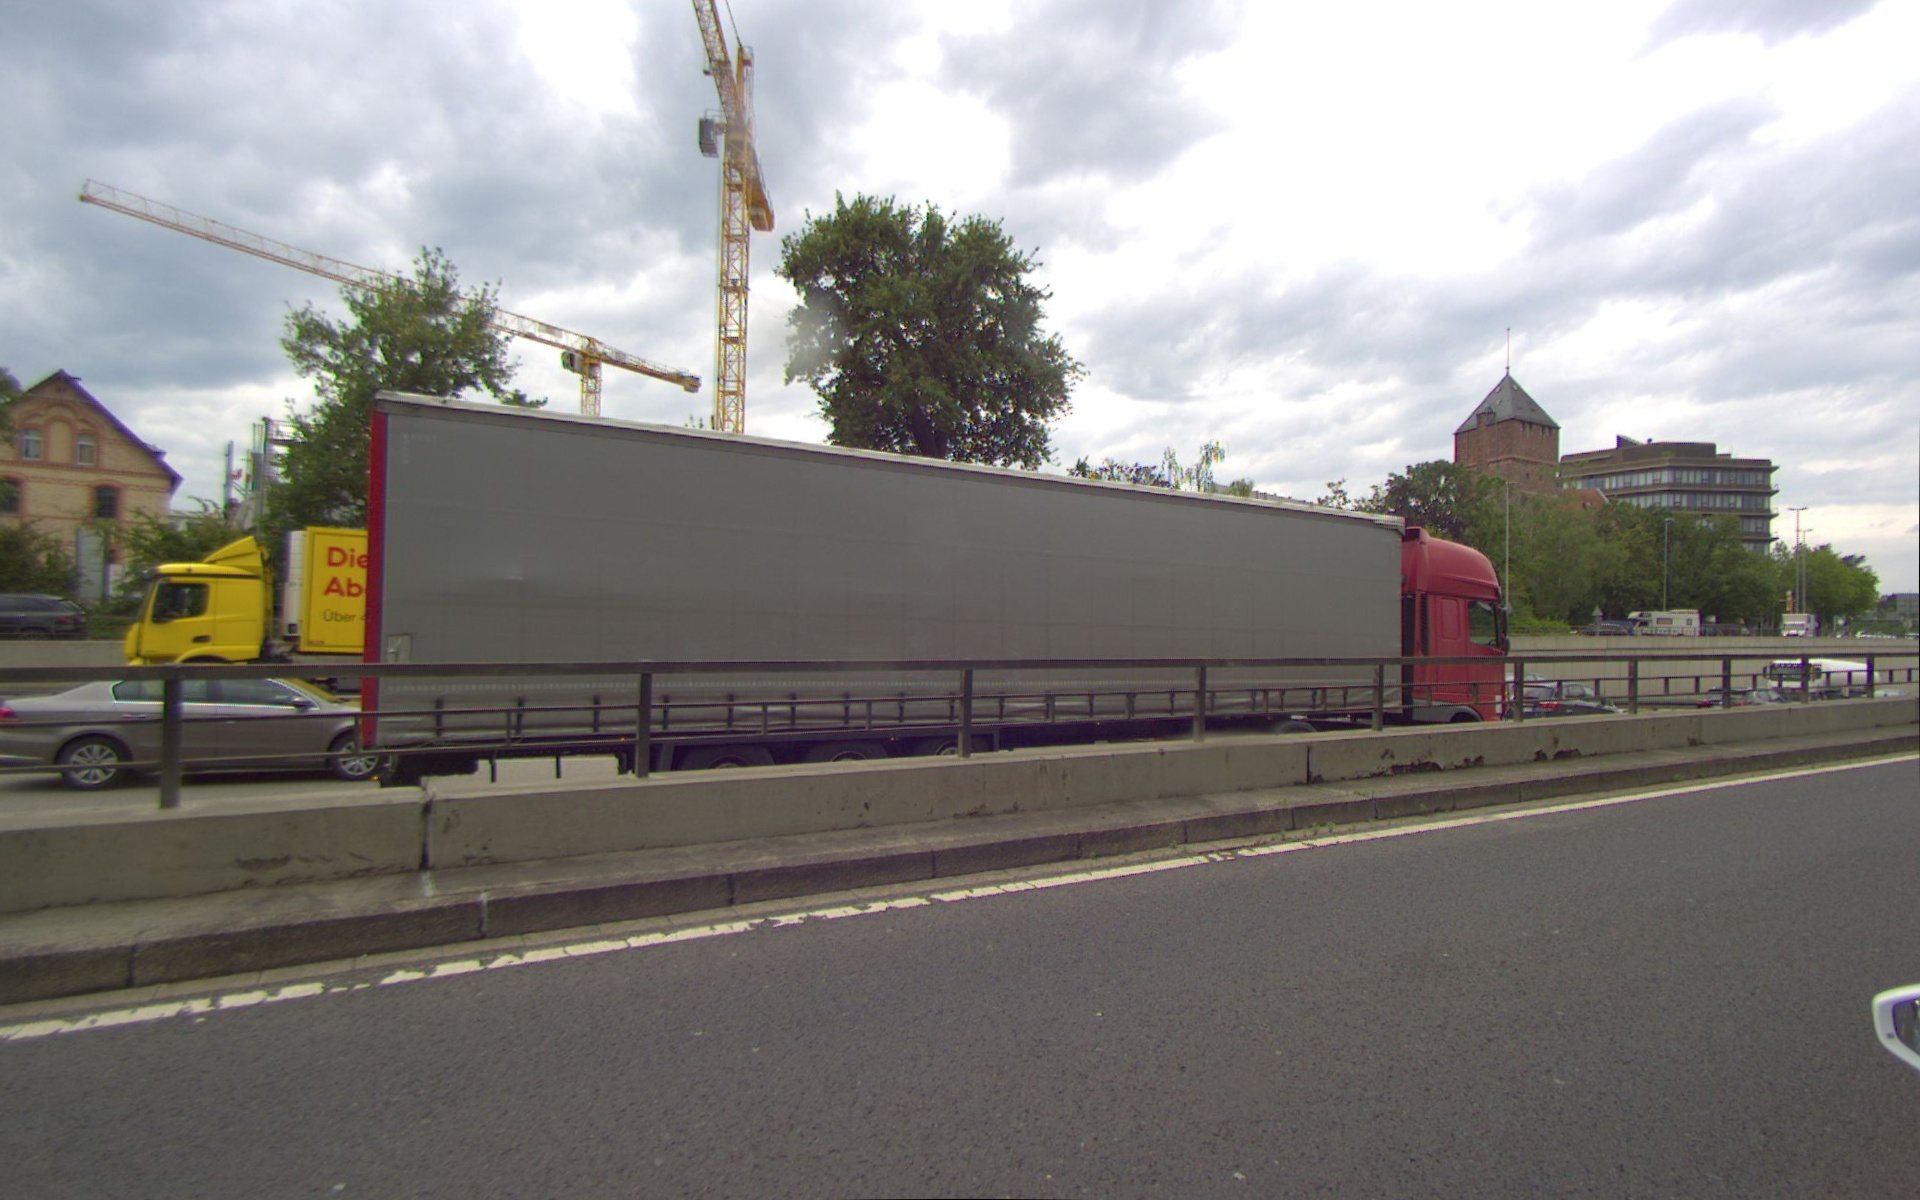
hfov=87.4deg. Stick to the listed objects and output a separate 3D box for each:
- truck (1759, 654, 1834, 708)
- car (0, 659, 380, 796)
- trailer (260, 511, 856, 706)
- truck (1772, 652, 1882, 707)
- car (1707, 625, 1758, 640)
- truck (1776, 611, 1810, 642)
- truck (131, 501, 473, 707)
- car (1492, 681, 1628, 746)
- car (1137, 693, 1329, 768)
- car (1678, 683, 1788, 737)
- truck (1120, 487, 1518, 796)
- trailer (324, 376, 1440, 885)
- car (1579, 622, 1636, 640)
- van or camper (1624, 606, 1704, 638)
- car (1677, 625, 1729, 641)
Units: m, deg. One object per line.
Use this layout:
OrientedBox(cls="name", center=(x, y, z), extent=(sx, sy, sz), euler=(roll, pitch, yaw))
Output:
OrientedBox(cls="truck", center=(53.257, 5.083, 63.970), extent=(4.272, 3.262, 2.511), euler=(2, -2, -32))
OrientedBox(cls="car", center=(-9.748, 1.539, 12.954), extent=(3.850, 1.460, 1.616), euler=(2, 0, -29))
OrientedBox(cls="trailer", center=(-9.402, 0.402, 25.643), extent=(13.618, 4.089, 2.512), euler=(2, -2, -31))
OrientedBox(cls="truck", center=(57.838, 5.184, 66.898), extent=(10.930, 3.396, 2.511), euler=(2, -2, -33))
OrientedBox(cls="car", center=(82.080, 3.462, 106.746), extent=(3.919, 1.460, 1.630), euler=(2, 0, 9))
OrientedBox(cls="truck", center=(86.968, 2.769, 104.854), extent=(7.052, 3.027, 1.996), euler=(2, 0, -45))
OrientedBox(cls="truck", center=(-14.418, 0.201, 22.561), extent=(6.026, 4.090, 2.512), euler=(2, -2, -31))
OrientedBox(cls="car", center=(16.968, 3.160, 28.376), extent=(3.852, 1.549, 1.647), euler=(2, 0, -31))
OrientedBox(cls="car", center=(5.763, 2.674, 21.098), extent=(3.851, 1.229, 1.648), euler=(2, 0, -30))
OrientedBox(cls="car", center=(26.306, 3.699, 34.171), extent=(3.851, 1.549, 1.616), euler=(2, 0, -30))
OrientedBox(cls="truck", center=(5.812, 0.662, 16.025), extent=(6.130, 4.090, 2.692), euler=(2, -2, -30))
OrientedBox(cls="trailer", center=(0.503, 0.483, 12.871), extent=(14.385, 4.089, 2.639), euler=(2, -2, -30))
OrientedBox(cls="car", center=(57.720, 2.745, 89.615), extent=(3.919, 1.460, 1.630), euler=(2, 0, 9))
OrientedBox(cls="van or camper", center=(67.234, 2.046, 96.065), extent=(5.805, 2.847, 2.147), euler=(2, 0, 15))
OrientedBox(cls="car", center=(75.562, 3.342, 102.141), extent=(3.919, 1.460, 1.630), euler=(2, 0, 9))
